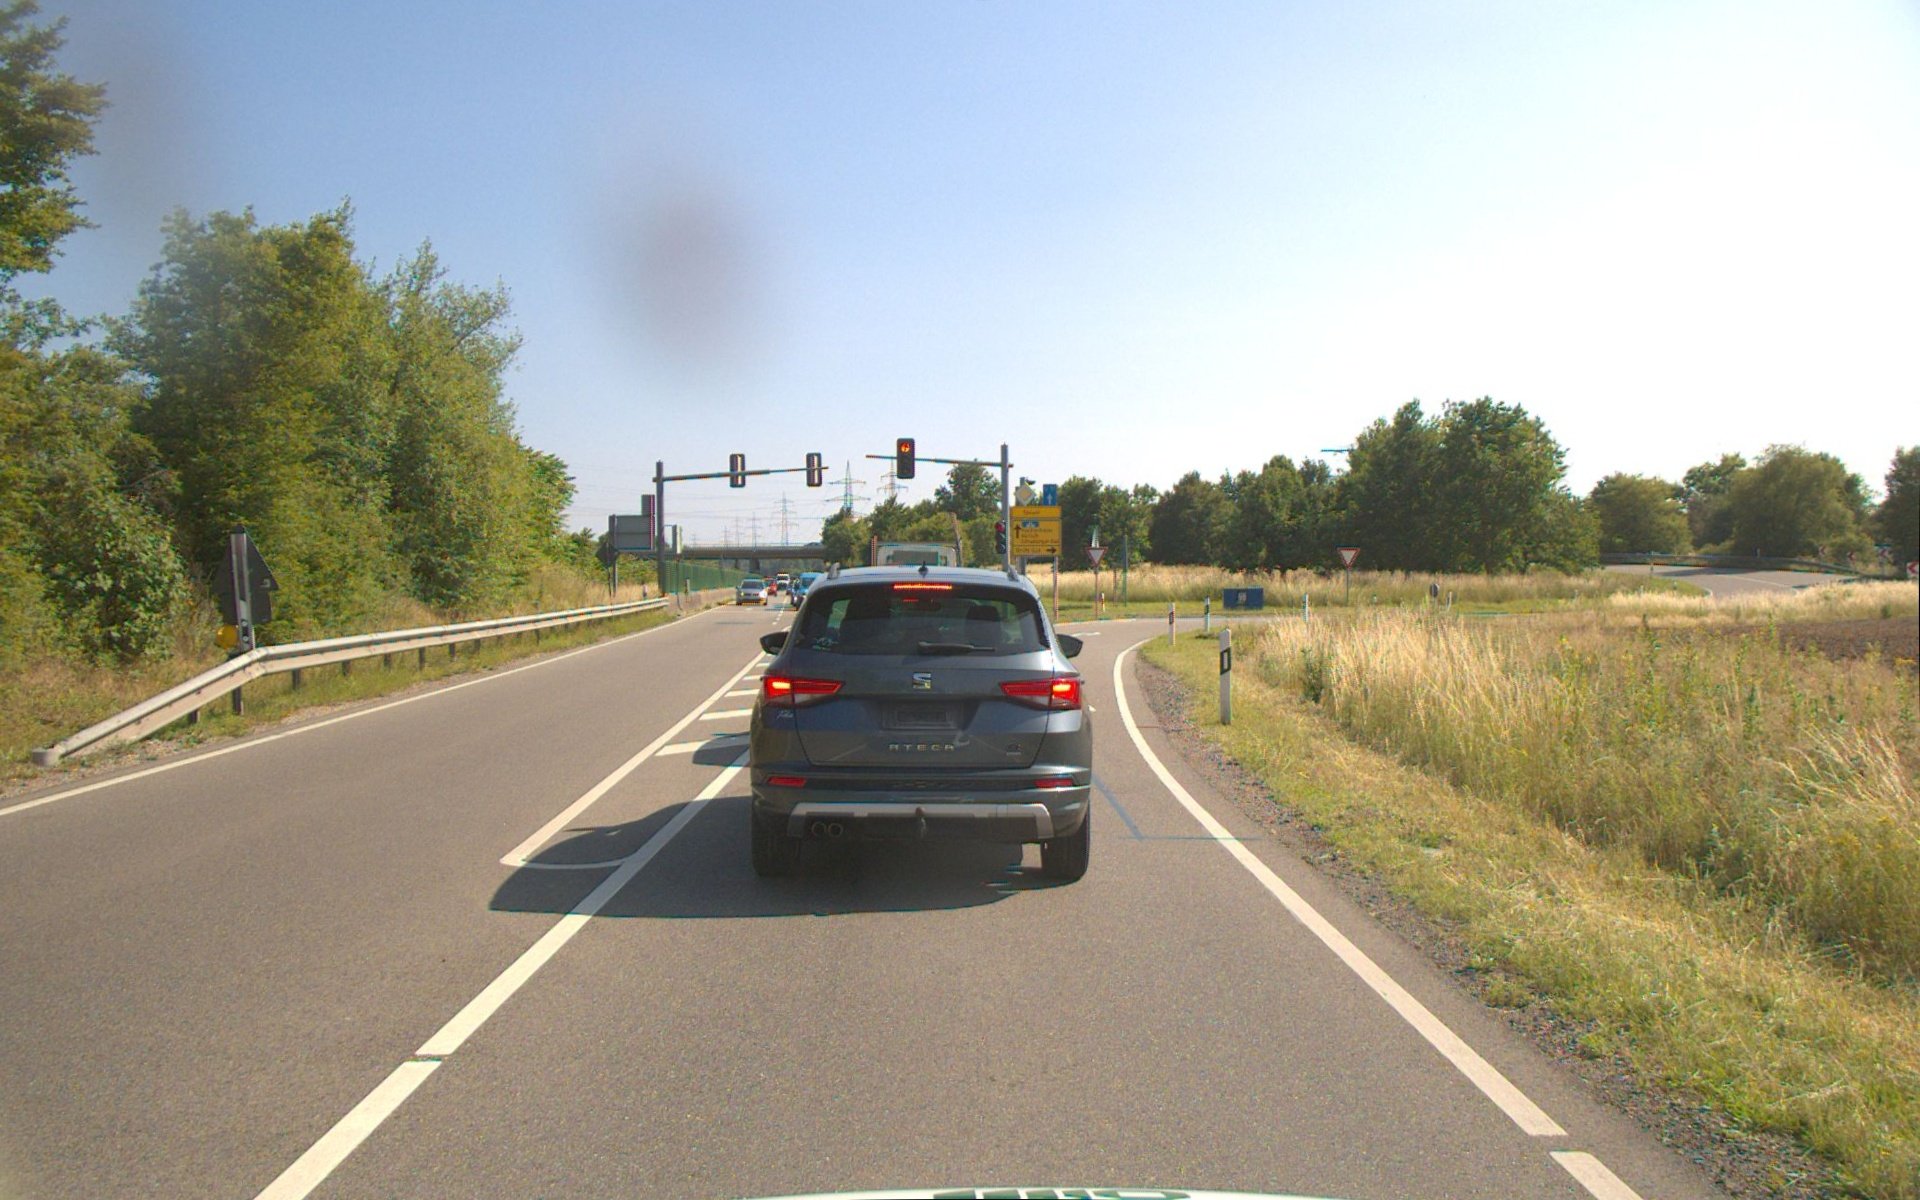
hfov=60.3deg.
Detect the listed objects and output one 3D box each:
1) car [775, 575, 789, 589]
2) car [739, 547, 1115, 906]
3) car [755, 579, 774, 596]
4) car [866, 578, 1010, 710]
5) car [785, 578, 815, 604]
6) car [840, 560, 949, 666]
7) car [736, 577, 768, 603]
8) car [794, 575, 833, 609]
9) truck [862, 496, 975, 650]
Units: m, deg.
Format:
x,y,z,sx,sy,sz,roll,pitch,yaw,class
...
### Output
x,y,z,sx,sy,sz,roll,pitch,yaw,class
-26.110,-2.605,242.349,1.927,1.986,4.988,-1,1,-8,car
-0.255,0.552,9.747,1.750,1.657,3.998,0,1,-3,car
-17.605,-1.150,148.922,1.728,1.456,3.994,-1,1,-7,car
-0.375,0.507,22.085,1.750,1.570,3.998,0,1,-3,car
-8.964,-0.494,92.700,1.652,1.404,3.529,0,1,-6,car
-1.171,0.175,28.869,1.750,1.705,3.998,0,1,-3,car
-11.951,-0.579,95.109,1.789,1.456,3.994,-1,1,-7,car
-7.130,-0.411,80.348,1.781,1.567,3.995,-1,1,-7,car
-0.940,-0.552,36.554,2.290,3.119,5.807,0,0,-2,truck
